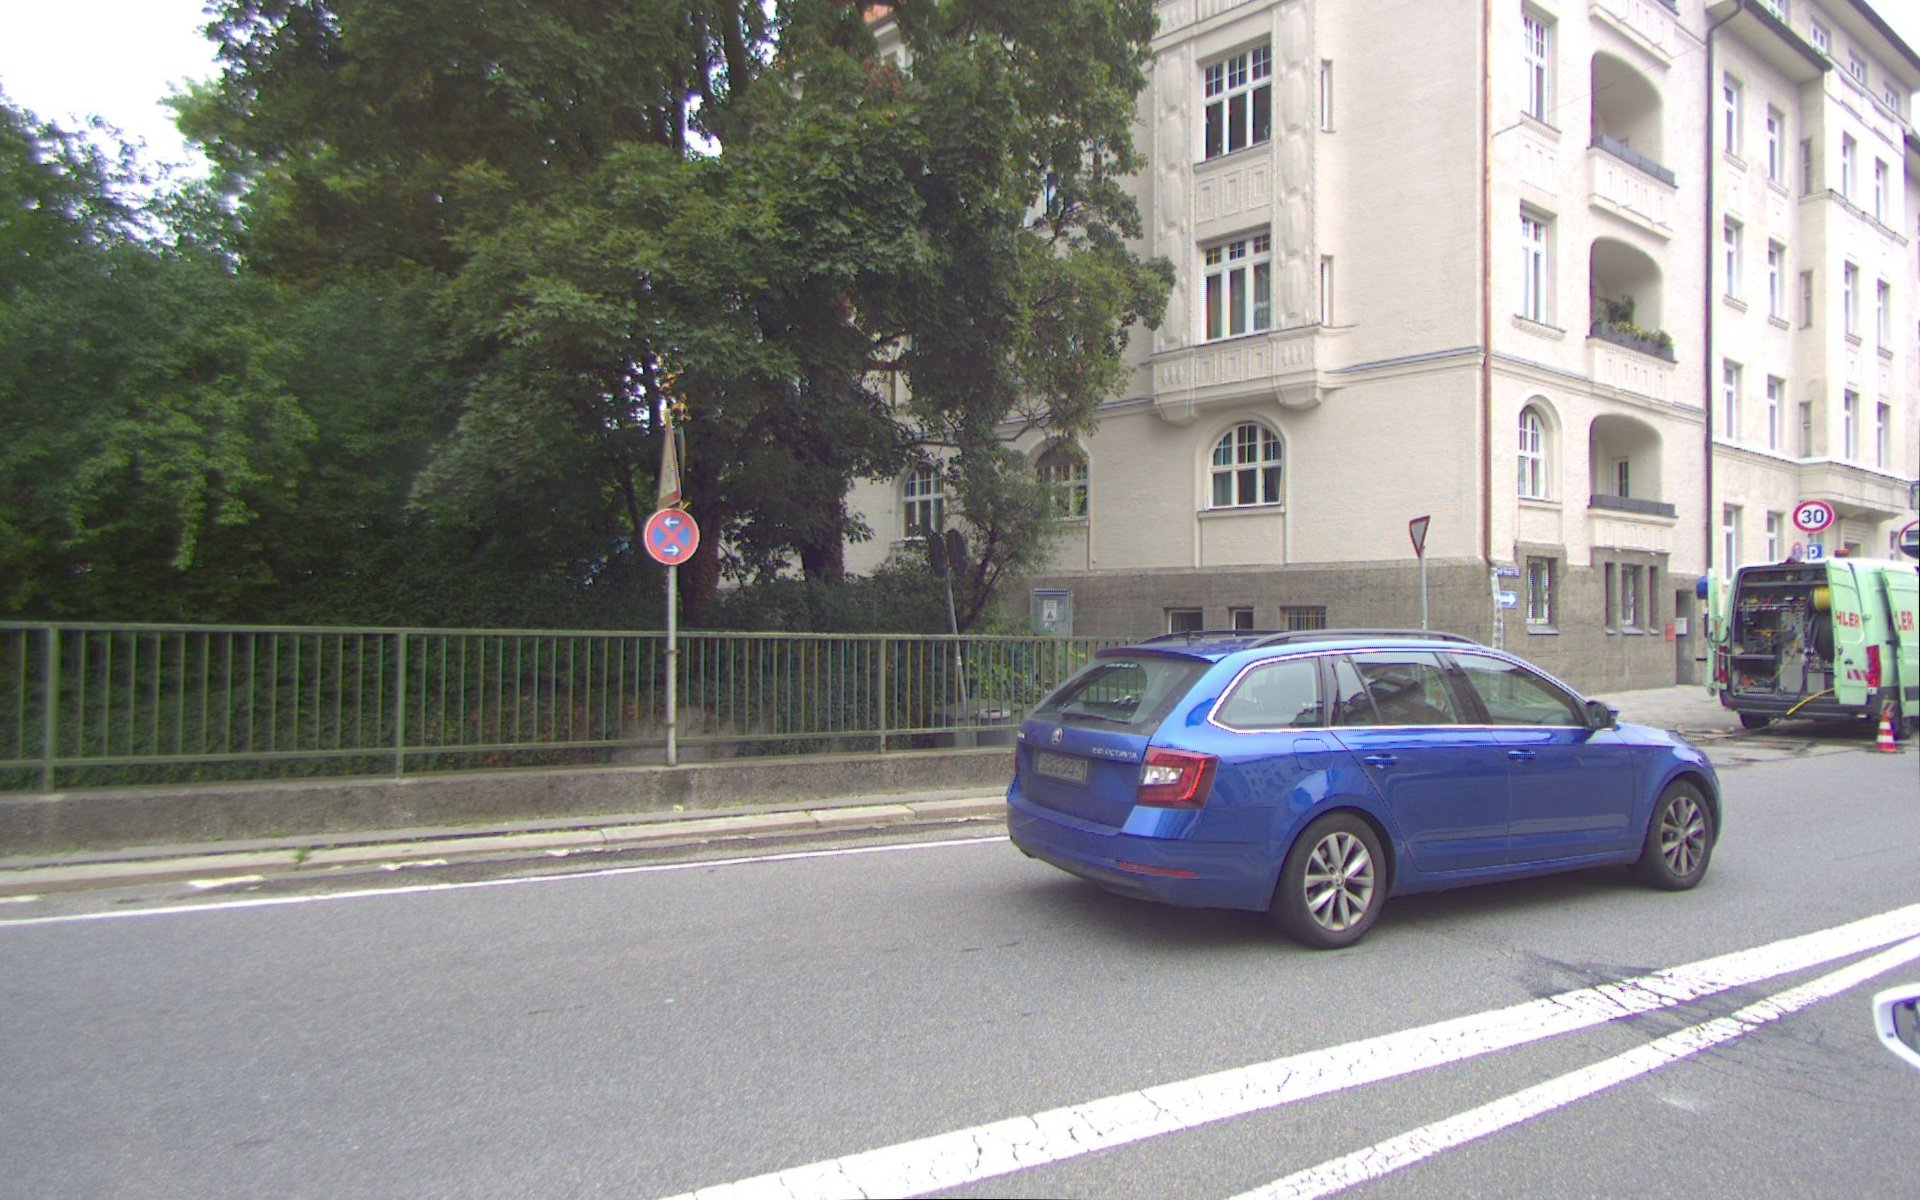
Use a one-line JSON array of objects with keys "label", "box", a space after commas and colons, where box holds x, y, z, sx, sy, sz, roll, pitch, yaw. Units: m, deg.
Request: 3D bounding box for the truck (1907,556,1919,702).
[{"label": "truck", "box": [22.774, 0.564, 20.934, 7.122, 2.911, 2.758, 0, -1, -33]}]

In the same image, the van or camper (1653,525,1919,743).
[{"label": "van or camper", "box": [13.919, 0.473, 15.963, 6.117, 2.878, 2.586, 0, -1, -32]}]

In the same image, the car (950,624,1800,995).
[{"label": "car", "box": [2.470, 0.918, 5.890, 4.670, 1.473, 1.982, 2, -2, -25]}]
